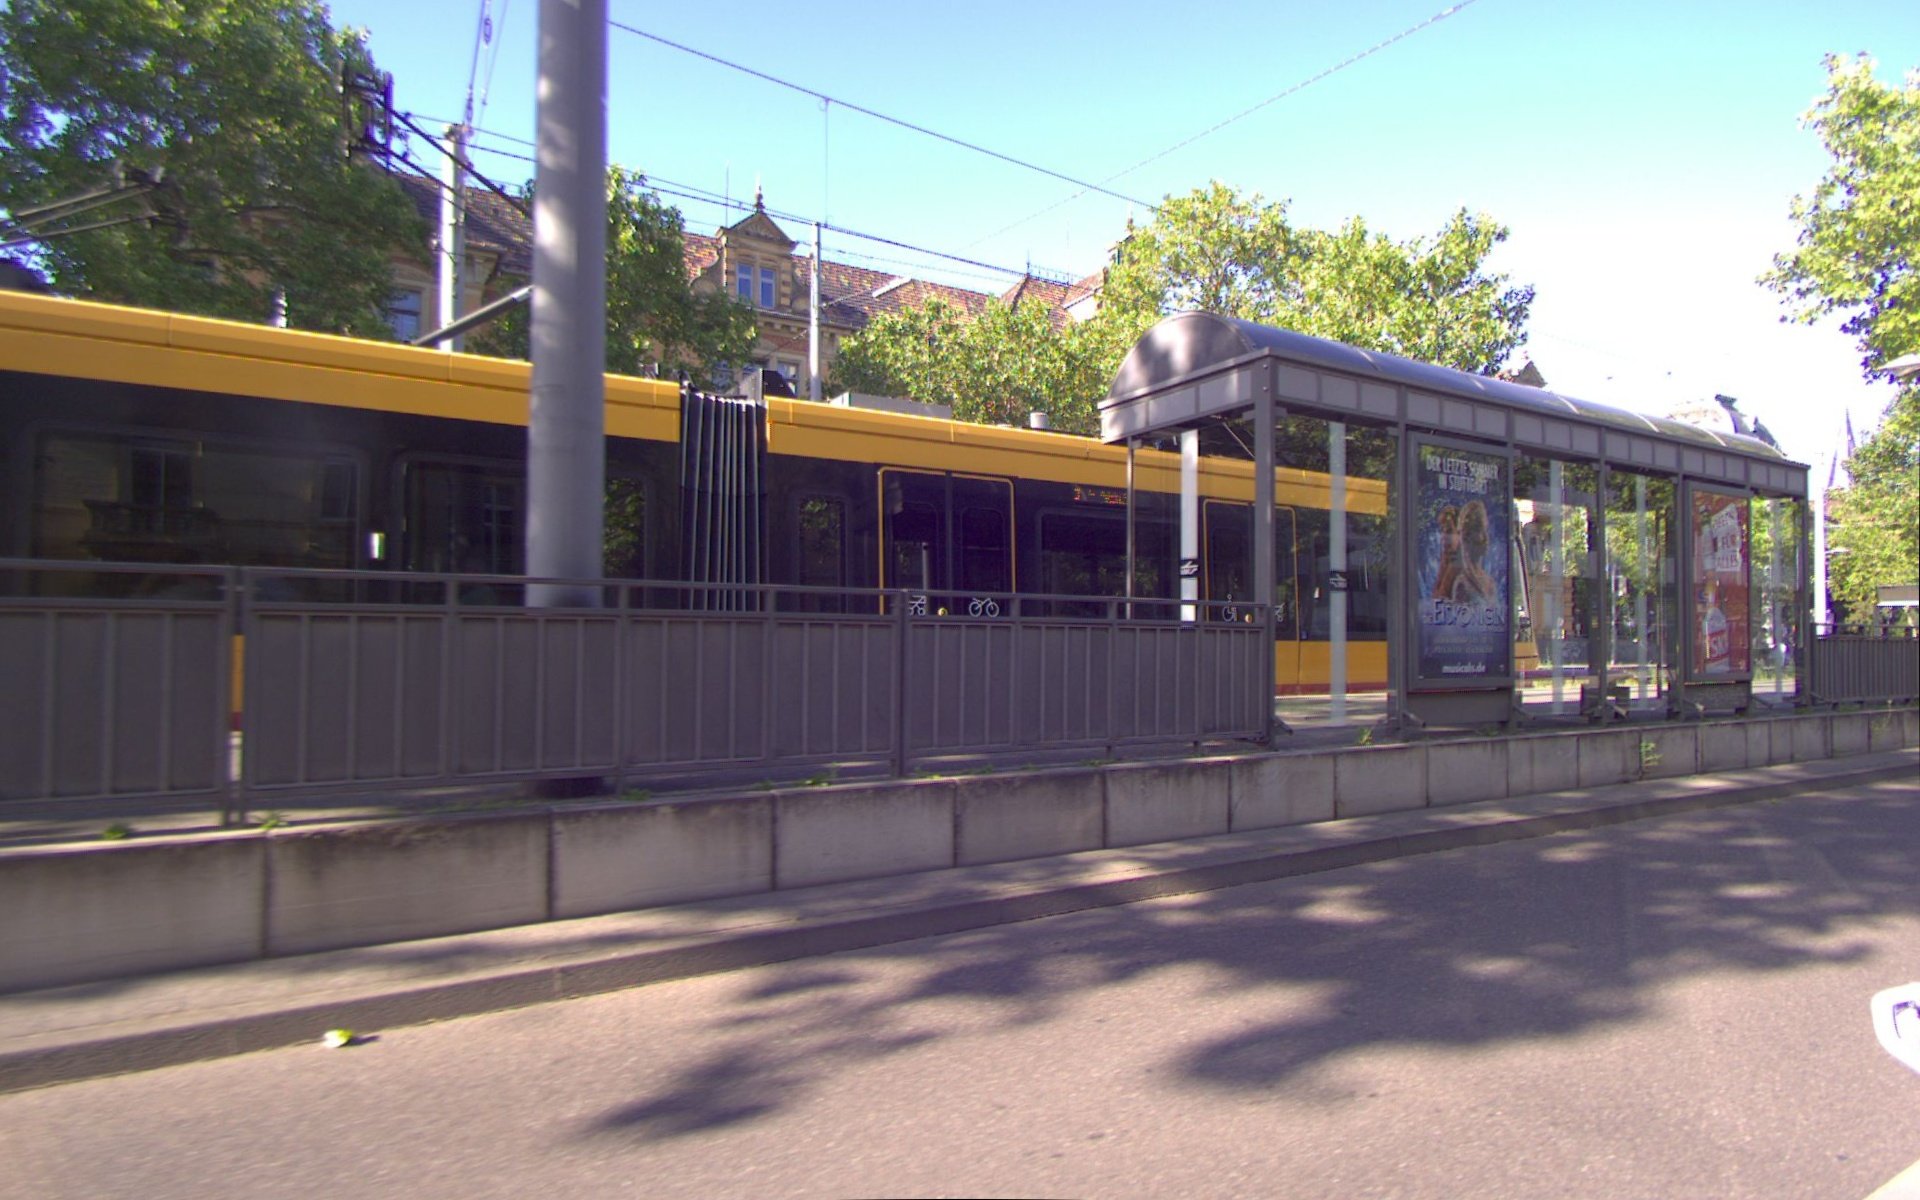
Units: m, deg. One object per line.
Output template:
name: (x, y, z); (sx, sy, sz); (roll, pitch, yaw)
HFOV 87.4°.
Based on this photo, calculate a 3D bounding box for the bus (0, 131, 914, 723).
bus: (-6.335, -1.002, 7.176); (12.070, 3.490, 2.856); (1, -1, -30)

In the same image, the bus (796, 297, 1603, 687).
bus: (3.793, -0.854, 13.121); (11.473, 3.490, 2.856); (1, -1, -30)
